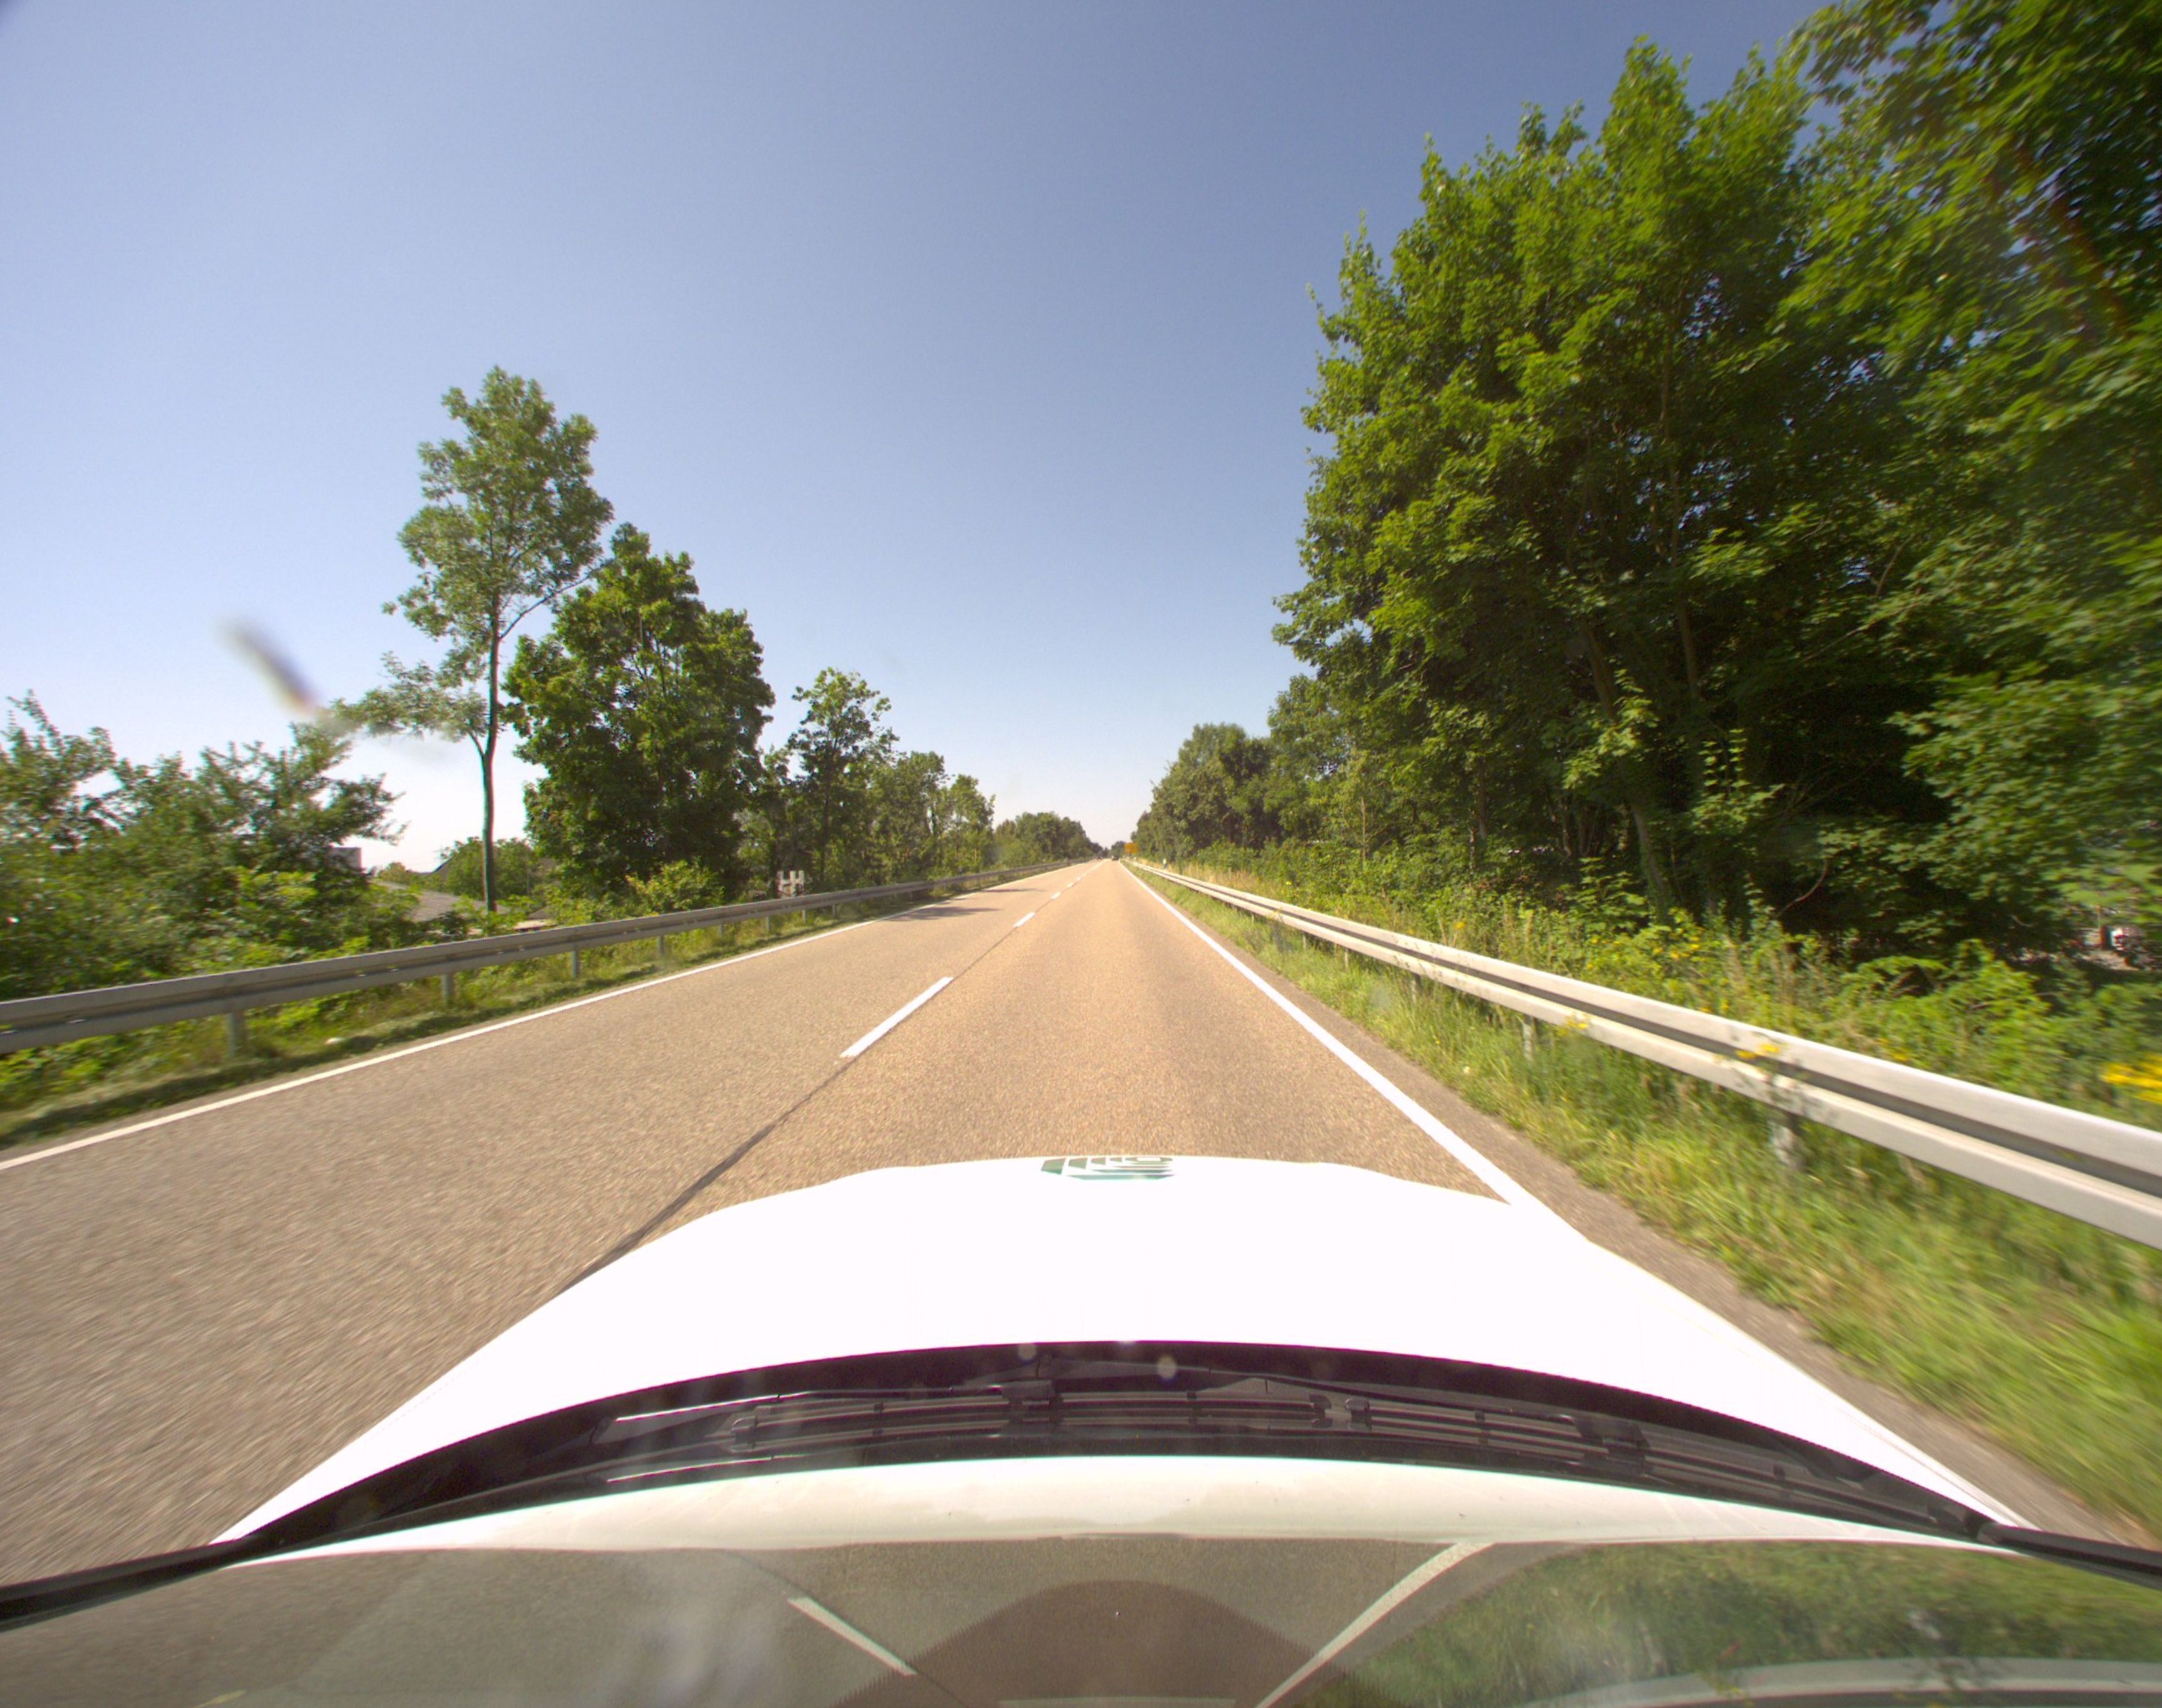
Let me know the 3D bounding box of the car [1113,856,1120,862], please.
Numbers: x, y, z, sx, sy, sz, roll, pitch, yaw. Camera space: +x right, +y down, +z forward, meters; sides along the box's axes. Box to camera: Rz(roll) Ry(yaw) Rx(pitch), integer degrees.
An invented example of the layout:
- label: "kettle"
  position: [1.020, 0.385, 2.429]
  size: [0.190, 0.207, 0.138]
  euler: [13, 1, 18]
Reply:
- label: "car"
  position: [9.596, 1.361, 221.065]
  size: [1.734, 1.470, 3.695]
  euler: [-1, 0, 3]
